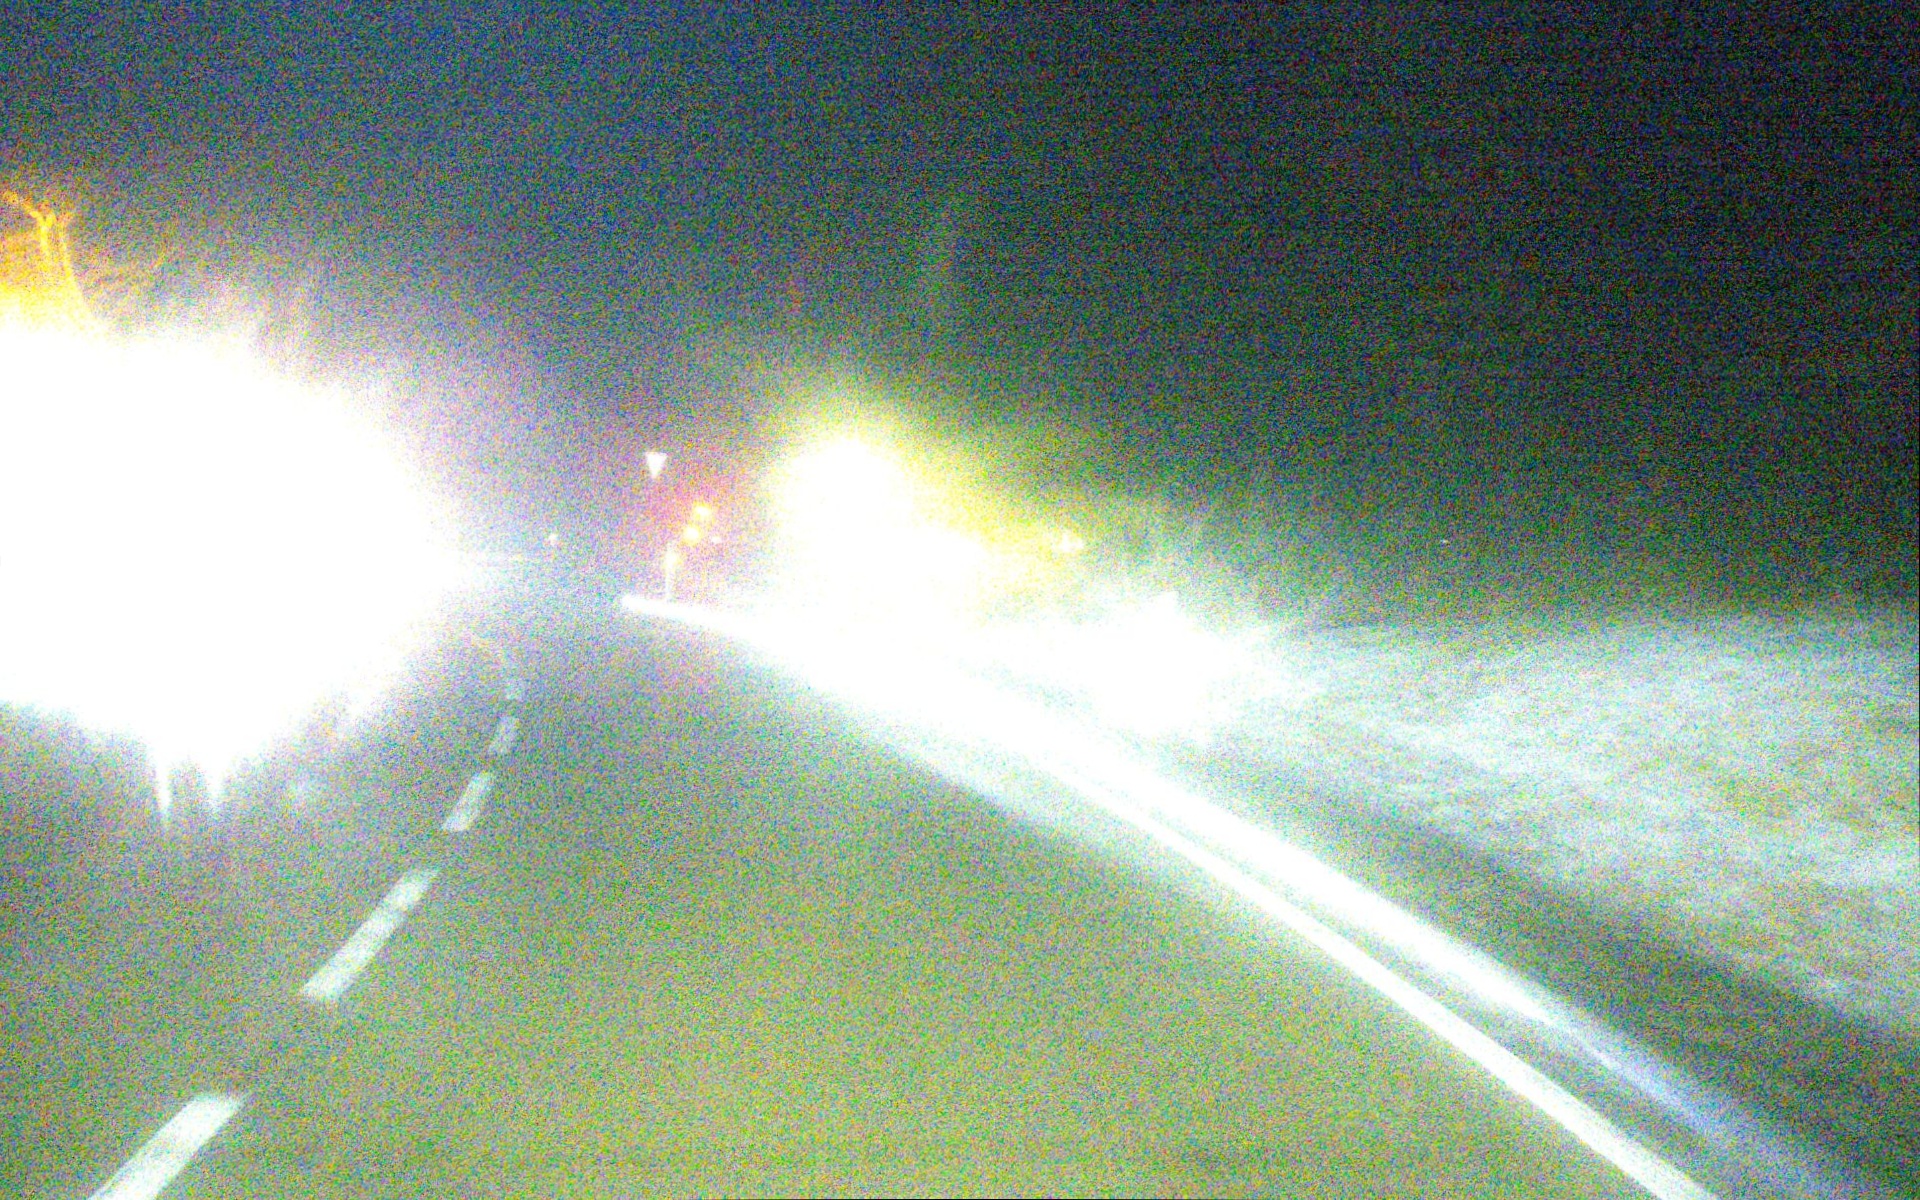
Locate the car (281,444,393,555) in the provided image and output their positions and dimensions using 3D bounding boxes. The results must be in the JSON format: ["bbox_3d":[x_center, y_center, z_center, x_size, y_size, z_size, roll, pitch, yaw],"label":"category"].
[{"bbox_3d":[-16.132,-2.632,88.755,2.538,2.489,5.717,1,4,-13],"label":"car"}]

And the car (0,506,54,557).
[{"bbox_3d":[-29.728,-2.180,108.466,1.712,1.471,3.870,2,2,-21],"label":"car"}]

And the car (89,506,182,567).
[{"bbox_3d":[-22.040,-1.688,91.821,1.955,1.517,4.400,1,0,-19],"label":"car"}]
